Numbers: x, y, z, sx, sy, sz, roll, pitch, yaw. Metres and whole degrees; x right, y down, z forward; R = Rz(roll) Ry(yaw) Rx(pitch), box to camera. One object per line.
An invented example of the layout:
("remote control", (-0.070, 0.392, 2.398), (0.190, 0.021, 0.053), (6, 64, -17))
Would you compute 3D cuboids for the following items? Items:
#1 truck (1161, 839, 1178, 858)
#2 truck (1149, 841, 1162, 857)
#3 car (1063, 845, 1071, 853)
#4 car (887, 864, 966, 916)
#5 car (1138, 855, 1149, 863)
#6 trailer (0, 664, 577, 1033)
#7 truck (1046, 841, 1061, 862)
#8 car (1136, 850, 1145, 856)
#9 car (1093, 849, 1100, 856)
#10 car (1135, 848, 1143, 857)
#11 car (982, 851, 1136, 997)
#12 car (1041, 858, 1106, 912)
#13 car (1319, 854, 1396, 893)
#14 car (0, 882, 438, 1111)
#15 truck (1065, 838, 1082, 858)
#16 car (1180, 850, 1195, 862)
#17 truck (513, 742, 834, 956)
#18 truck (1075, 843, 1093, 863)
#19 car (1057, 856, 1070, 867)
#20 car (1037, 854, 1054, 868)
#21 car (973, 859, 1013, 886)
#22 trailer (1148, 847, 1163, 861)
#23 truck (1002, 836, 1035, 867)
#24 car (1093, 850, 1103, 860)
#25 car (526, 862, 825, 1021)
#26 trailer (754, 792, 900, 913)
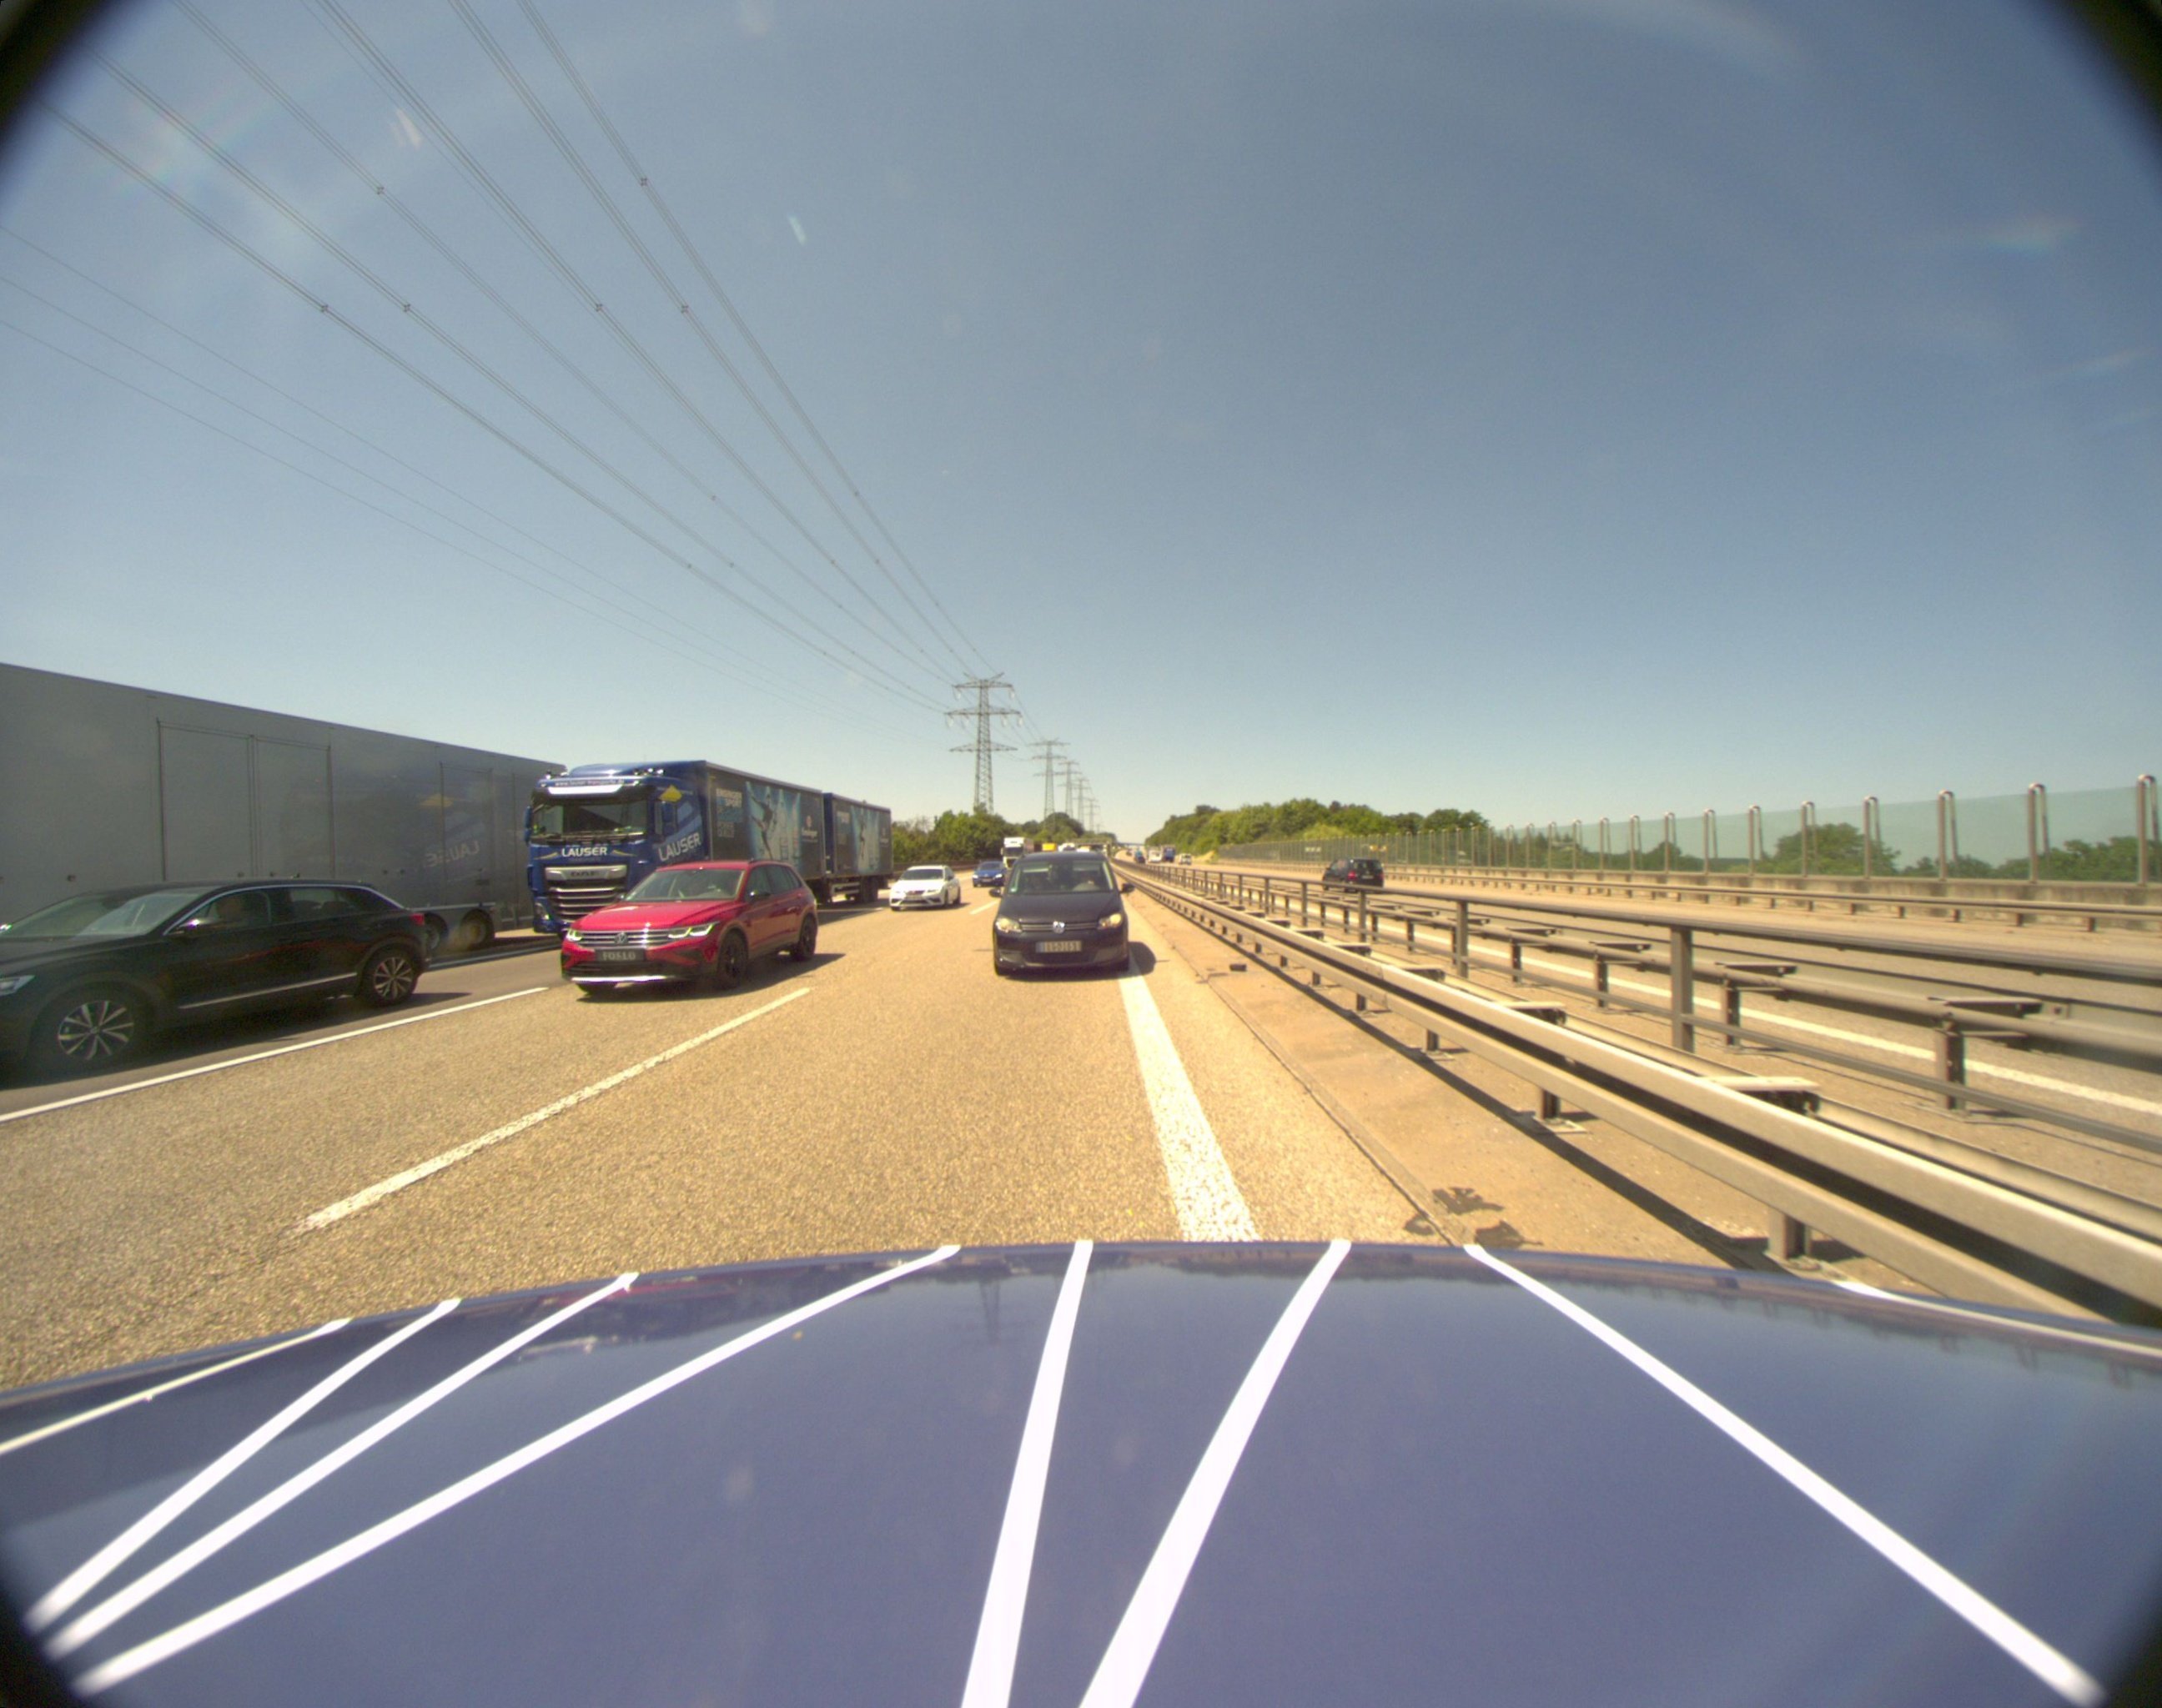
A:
("truck", (20.042, -1.206, 171.964), (2.876, 4.062, 9.989), (2, 0, 2))
("truck", (21.120, -1.418, 216.726), (2.876, 4.514, 9.989), (2, 0, 2))
("car", (-3.531, -1.249, 193.774), (1.998, 2.002, 4.000), (0, 0, 1))
("car", (-5.114, 1.141, 25.652), (1.843, 1.481, 4.072), (-2, 0, -1))
("car", (11.477, 0.922, 139.205), (1.772, 1.411, 4.266), (0, 0, 1))
("trailer", (-13.258, -0.030, 11.087), (2.542, 4.095, 13.771), (-2, 0, 0))
("truck", (-5.596, -0.596, 155.698), (2.346, 4.057, 8.278), (-2, 0, 1))
("car", (15.315, -0.178, 195.387), (1.853, 1.386, 4.000), (2, 0, 0))
("car", (4.402, -0.358, 217.030), (1.998, 2.002, 4.000), (-2, 0, 1))
("car", (18.052, -0.492, 237.244), (1.986, 2.575, 5.037), (1, 0, 0))
("car", (-0.254, 0.811, 10.885), (1.740, 1.652, 4.000), (-2, 0, 0))
("car", (-0.201, 0.899, 23.959), (1.845, 1.495, 4.377), (-1, 0, 0))
("car", (12.648, 0.843, 35.079), (1.999, 1.662, 4.186), (1, 0, 0))
("car", (-8.754, 1.138, 7.205), (1.740, 1.518, 4.106), (-2, 0, 1))
("truck", (-1.468, -1.201, 151.404), (2.980, 3.832, 10.562), (-2, 0, 1))
("car", (19.080, 0.369, 136.682), (2.039, 1.972, 4.489), (2, 0, 1))
("truck", (-9.490, -0.096, 19.750), (2.529, 4.043, 10.447), (-1, 0, 0))
("truck", (0.455, -0.153, 102.713), (2.284, 2.479, 5.861), (-2, 0, 1))
("car", (-2.521, 1.061, 112.141), (1.763, 1.495, 4.094), (-1, 0, 0))
("car", (-4.239, 0.828, 90.965), (1.763, 1.495, 4.094), (-1, 0, -1))
("car", (-5.193, 1.073, 45.255), (1.739, 1.437, 4.211), (-1, 0, 2))
("trailer", (15.106, 0.039, 153.827), (2.322, 2.690, 6.361), (1, 0, 0))
("truck", (-7.734, -0.307, 94.915), (2.985, 3.538, 10.967), (-2, 0, 0))
("car", (3.481, 0.212, 158.204), (1.998, 2.002, 4.000), (-2, 0, 1))
("car", (-5.136, 0.974, 10.409), (1.779, 1.652, 4.224), (-1, 0, 0))
("trailer", (-9.375, -0.050, 29.290), (2.572, 3.921, 8.479), (-2, 0, 0))
